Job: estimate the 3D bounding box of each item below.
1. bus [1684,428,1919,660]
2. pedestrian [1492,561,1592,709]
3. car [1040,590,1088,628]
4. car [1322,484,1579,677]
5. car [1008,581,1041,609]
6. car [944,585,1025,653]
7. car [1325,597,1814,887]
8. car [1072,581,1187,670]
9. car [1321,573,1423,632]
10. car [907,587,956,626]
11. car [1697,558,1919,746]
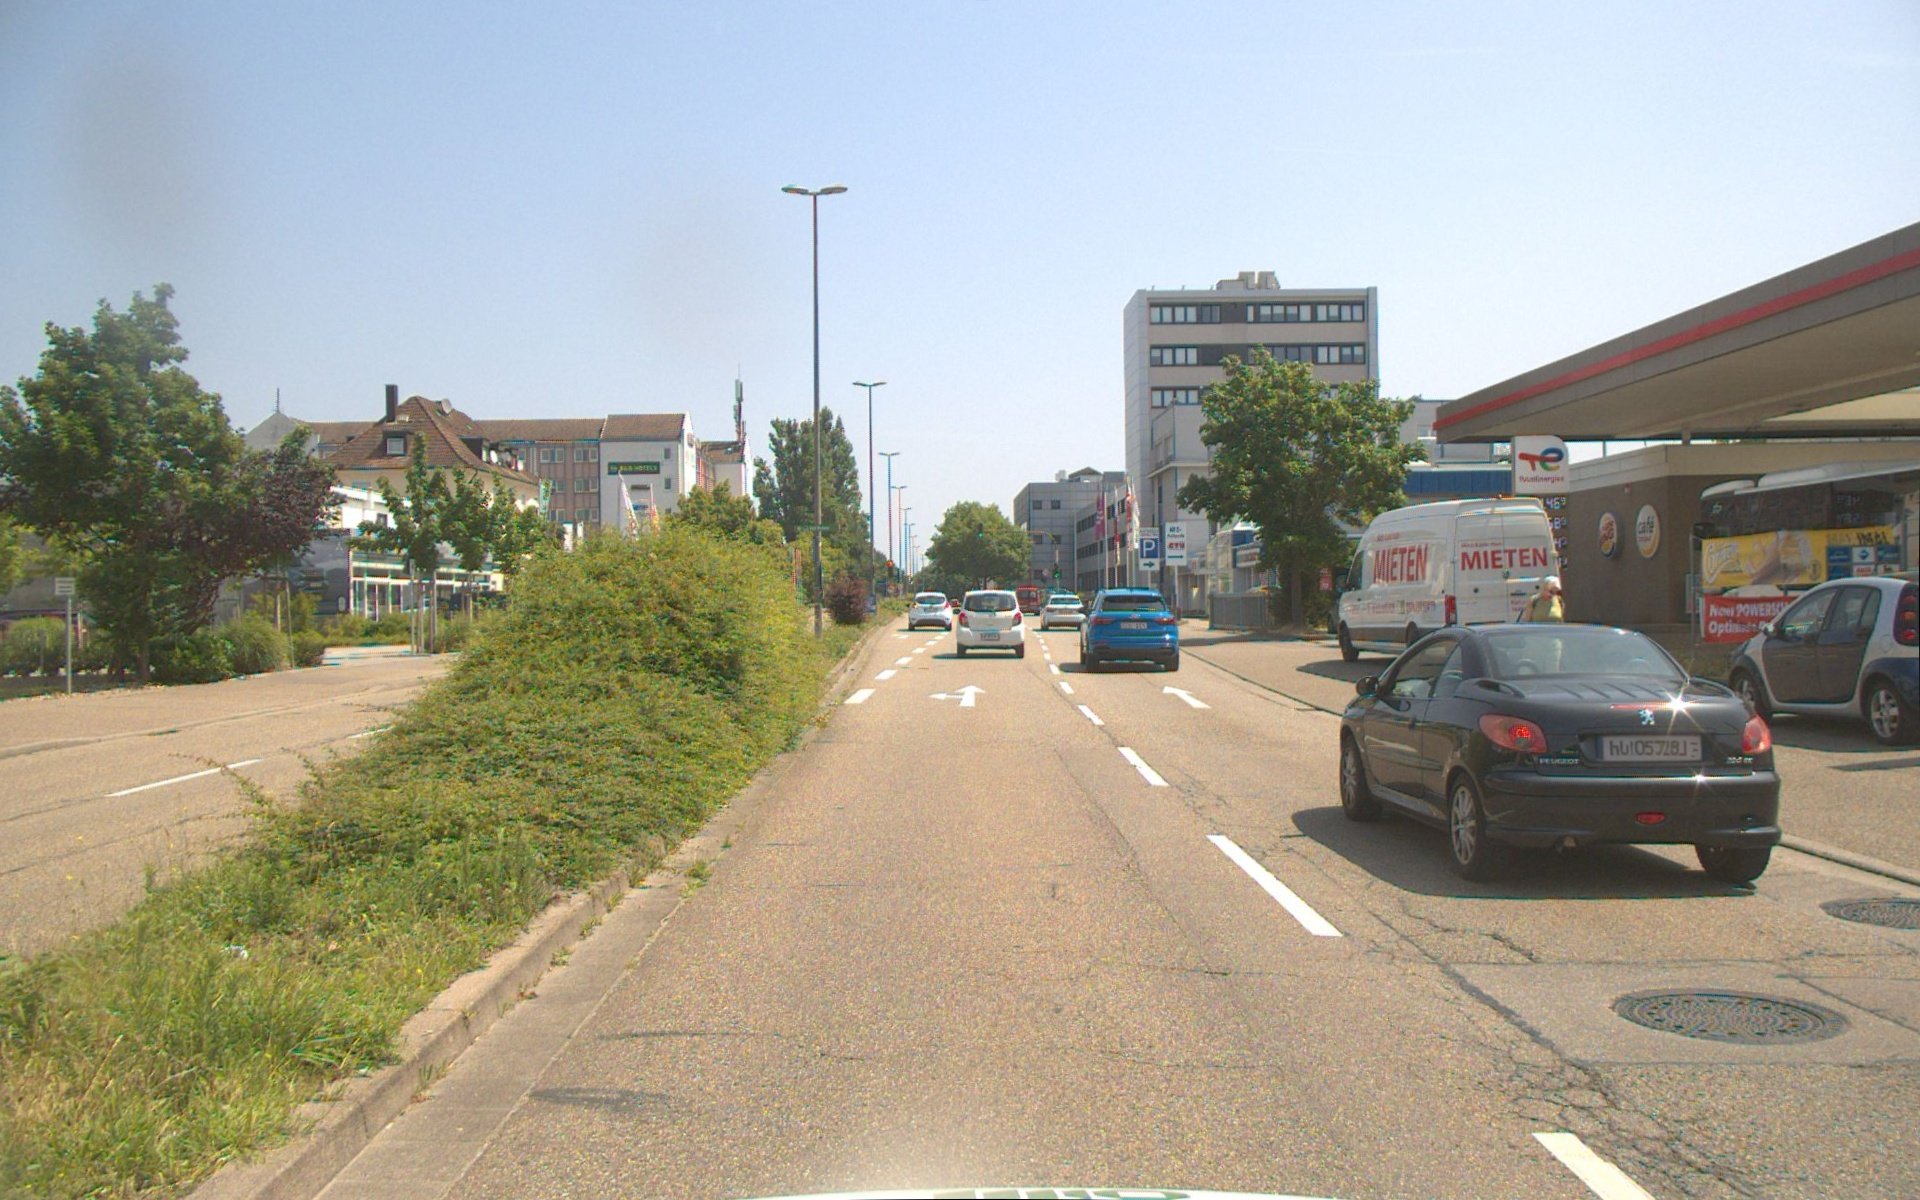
[{"bbox_3d":[14.420,-0.807,24.156,2.746,3.132,12.289,-1,1,2],"label":"bus"},{"bbox_3d":[7.523,0.438,21.401,0.799,1.777,0.703,-9,1,-2],"label":"pedestrian"},{"bbox_3d":[4.138,0.349,66.257,1.633,1.424,3.793,-1,0,-1],"label":"car"},{"bbox_3d":[8.396,-0.317,29.248,2.090,2.889,7.307,-3,0,-1],"label":"car"},{"bbox_3d":[4.194,-0.303,107.780,1.759,1.759,3.969,0,-1,-3],"label":"car"},{"bbox_3d":[0.540,0.441,39.111,1.678,1.537,3.244,0,0,-3],"label":"car"},{"bbox_3d":[3.477,0.707,10.156,1.567,1.450,3.660,0,0,-2],"label":"car"},{"bbox_3d":[3.372,0.455,33.601,1.874,1.625,4.396,1,1,0],"label":"car"},{"bbox_3d":[11.590,0.100,46.765,1.714,1.538,3.997,0,-2,-3],"label":"car"},{"bbox_3d":[-1.093,0.279,65.010,1.792,1.475,4.000,0,-1,0],"label":"car"},{"bbox_3d":[8.810,0.405,15.873,1.624,1.545,3.818,-3,0,-1],"label":"car"}]
